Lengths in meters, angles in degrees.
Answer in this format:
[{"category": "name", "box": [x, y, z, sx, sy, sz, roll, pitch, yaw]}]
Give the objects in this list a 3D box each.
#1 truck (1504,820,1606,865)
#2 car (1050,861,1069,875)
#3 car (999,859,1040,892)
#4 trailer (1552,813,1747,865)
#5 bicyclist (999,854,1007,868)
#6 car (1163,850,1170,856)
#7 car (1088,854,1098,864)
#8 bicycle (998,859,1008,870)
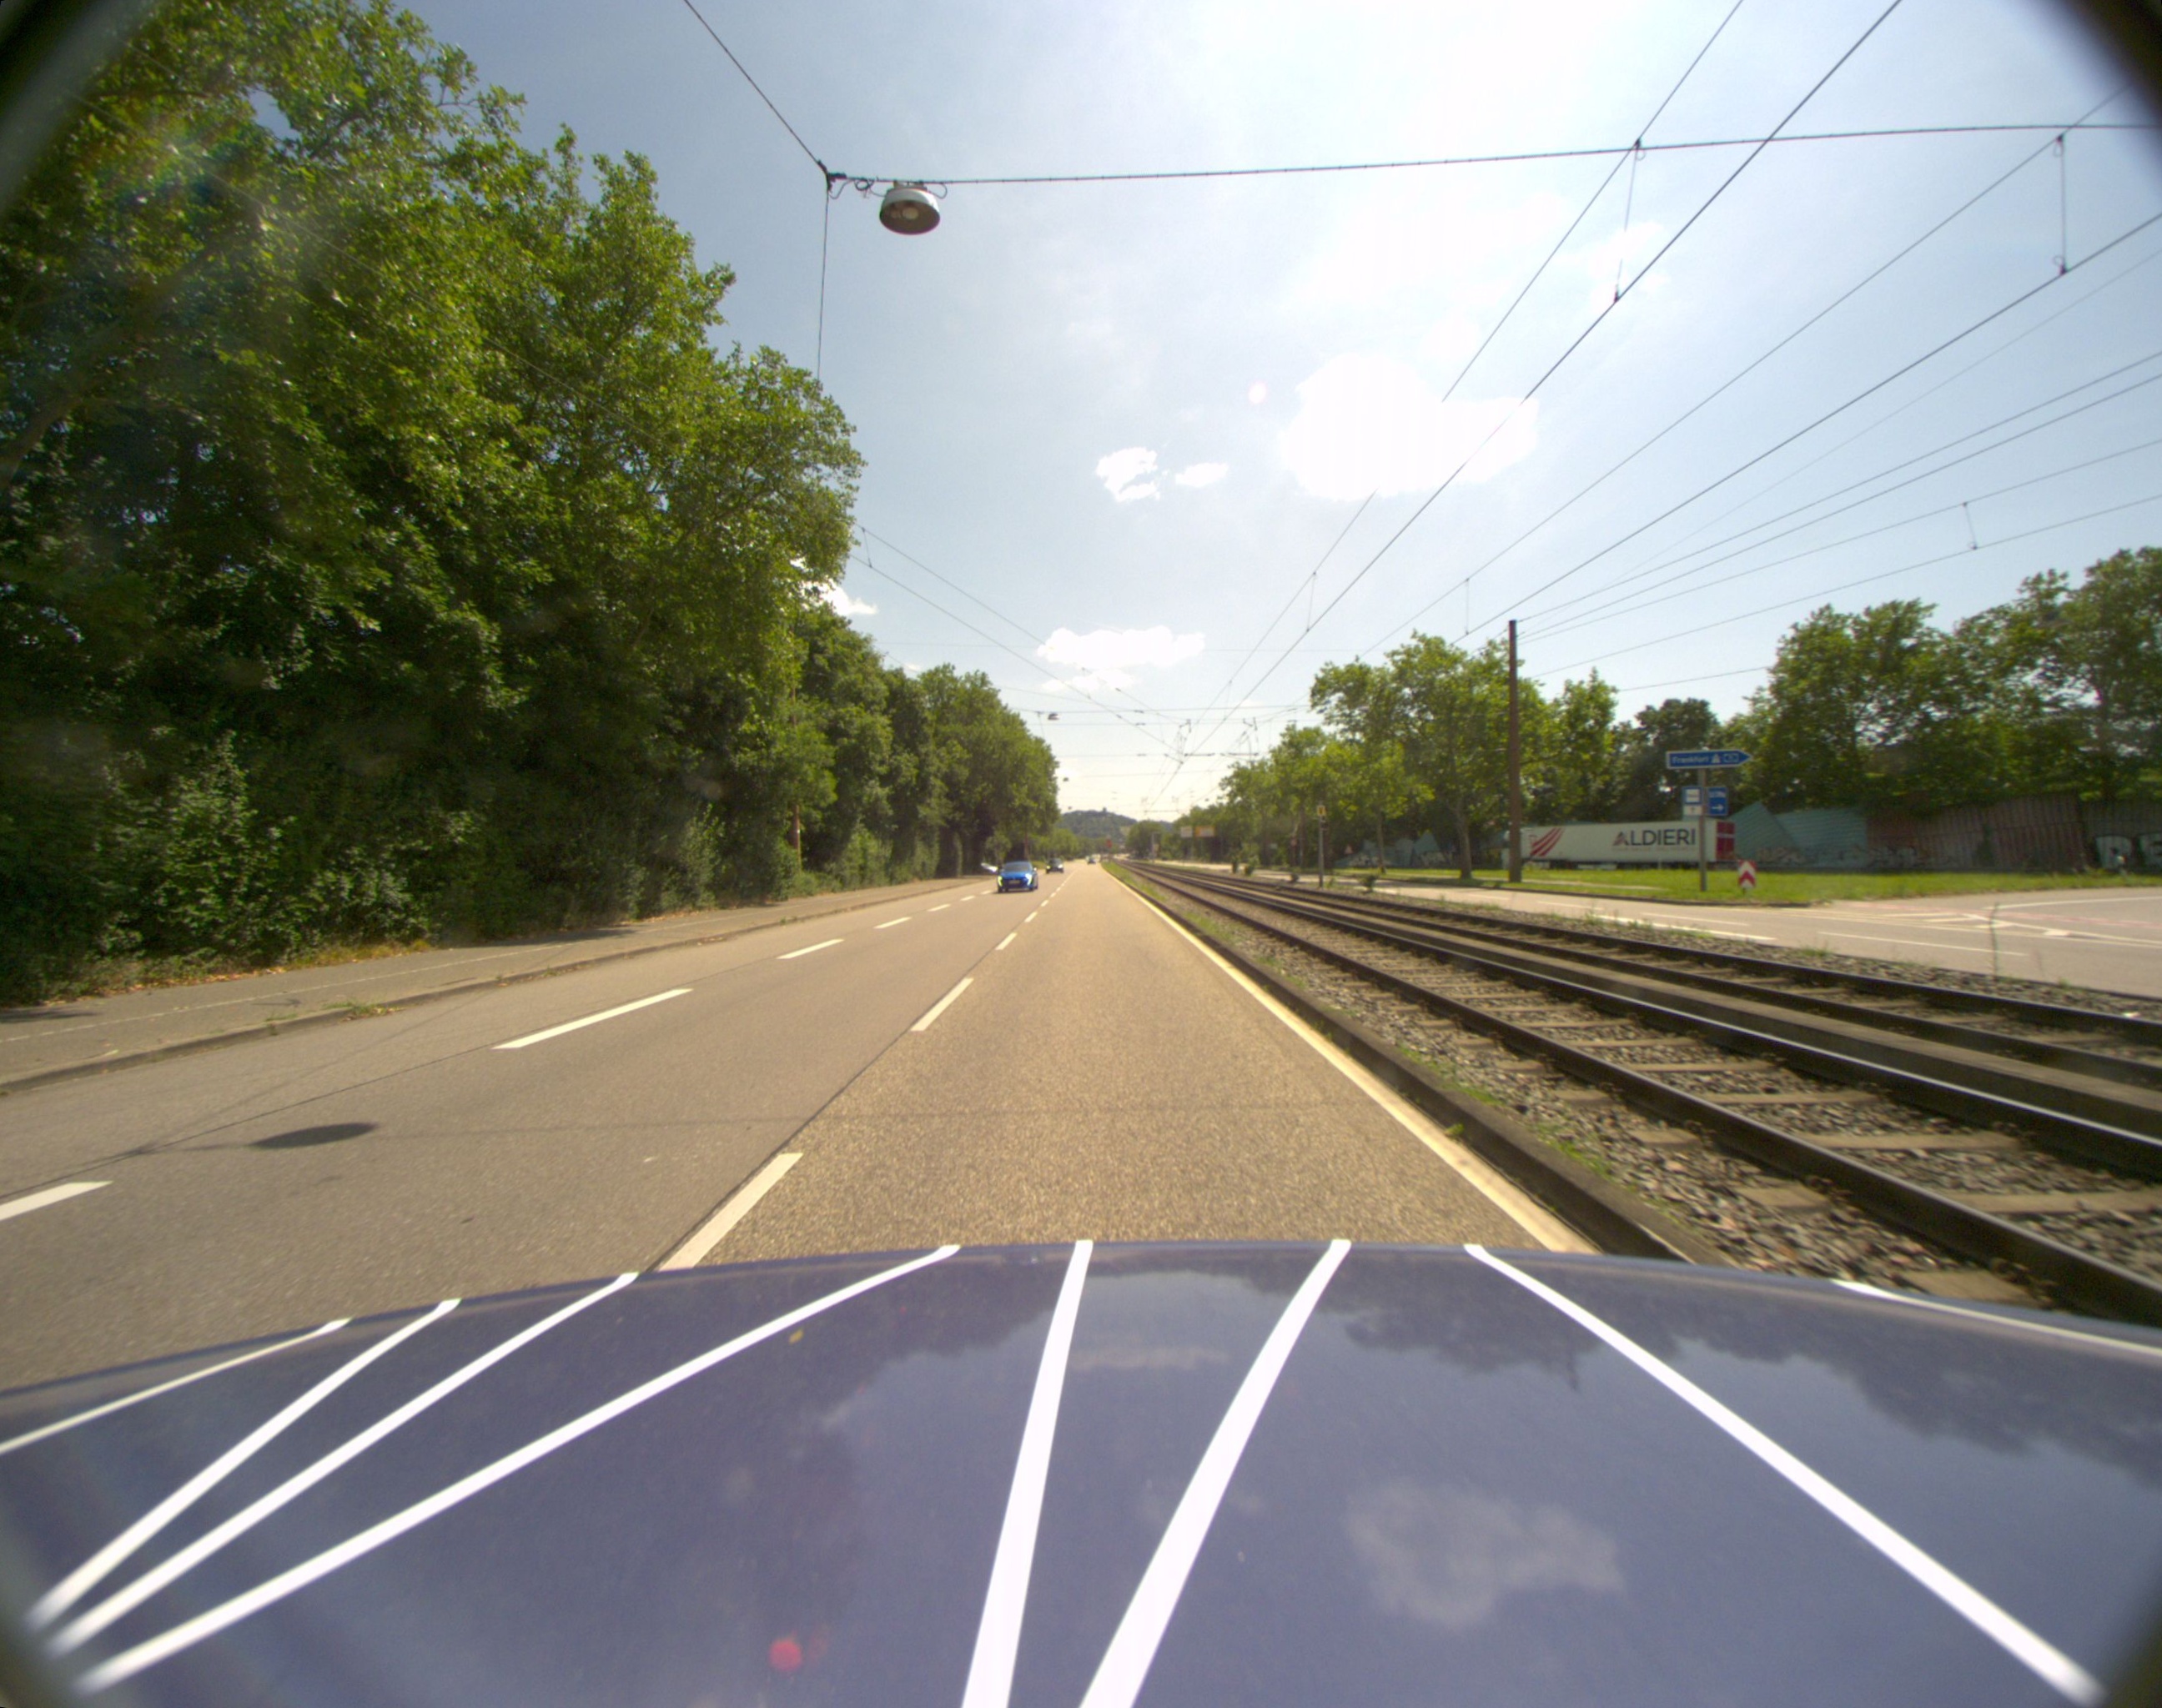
[{"category": "truck", "box": [40.962, -0.985, 65.946, 3.423, 3.680, 6.746, -1, 0, -25]}, {"category": "car", "box": [-2.274, 1.449, 79.906, 1.769, 1.359, 3.743, -3, 1, 1]}, {"category": "car", "box": [-2.993, 1.024, 37.508, 1.660, 1.397, 3.743, -3, 1, 0]}, {"category": "trailer", "box": [43.927, -1.057, 59.503, 3.393, 3.633, 12.084, -1, 0, -24]}, {"category": "bicyclist", "box": [-8.232, 0.743, 80.295, 0.704, 1.431, 0.641, -1, 1, 2]}, {"category": "car", "box": [28.661, -0.347, 254.766, 1.998, 1.783, 3.999, -3, 1, 1]}, {"category": "car", "box": [2.641, 1.052, 166.992, 1.998, 2.002, 3.999, -3, 1, 1]}, {"category": "bicycle", "box": [-8.237, 1.093, 80.169, 0.710, 1.131, 2.538, -1, 0, 3]}]
